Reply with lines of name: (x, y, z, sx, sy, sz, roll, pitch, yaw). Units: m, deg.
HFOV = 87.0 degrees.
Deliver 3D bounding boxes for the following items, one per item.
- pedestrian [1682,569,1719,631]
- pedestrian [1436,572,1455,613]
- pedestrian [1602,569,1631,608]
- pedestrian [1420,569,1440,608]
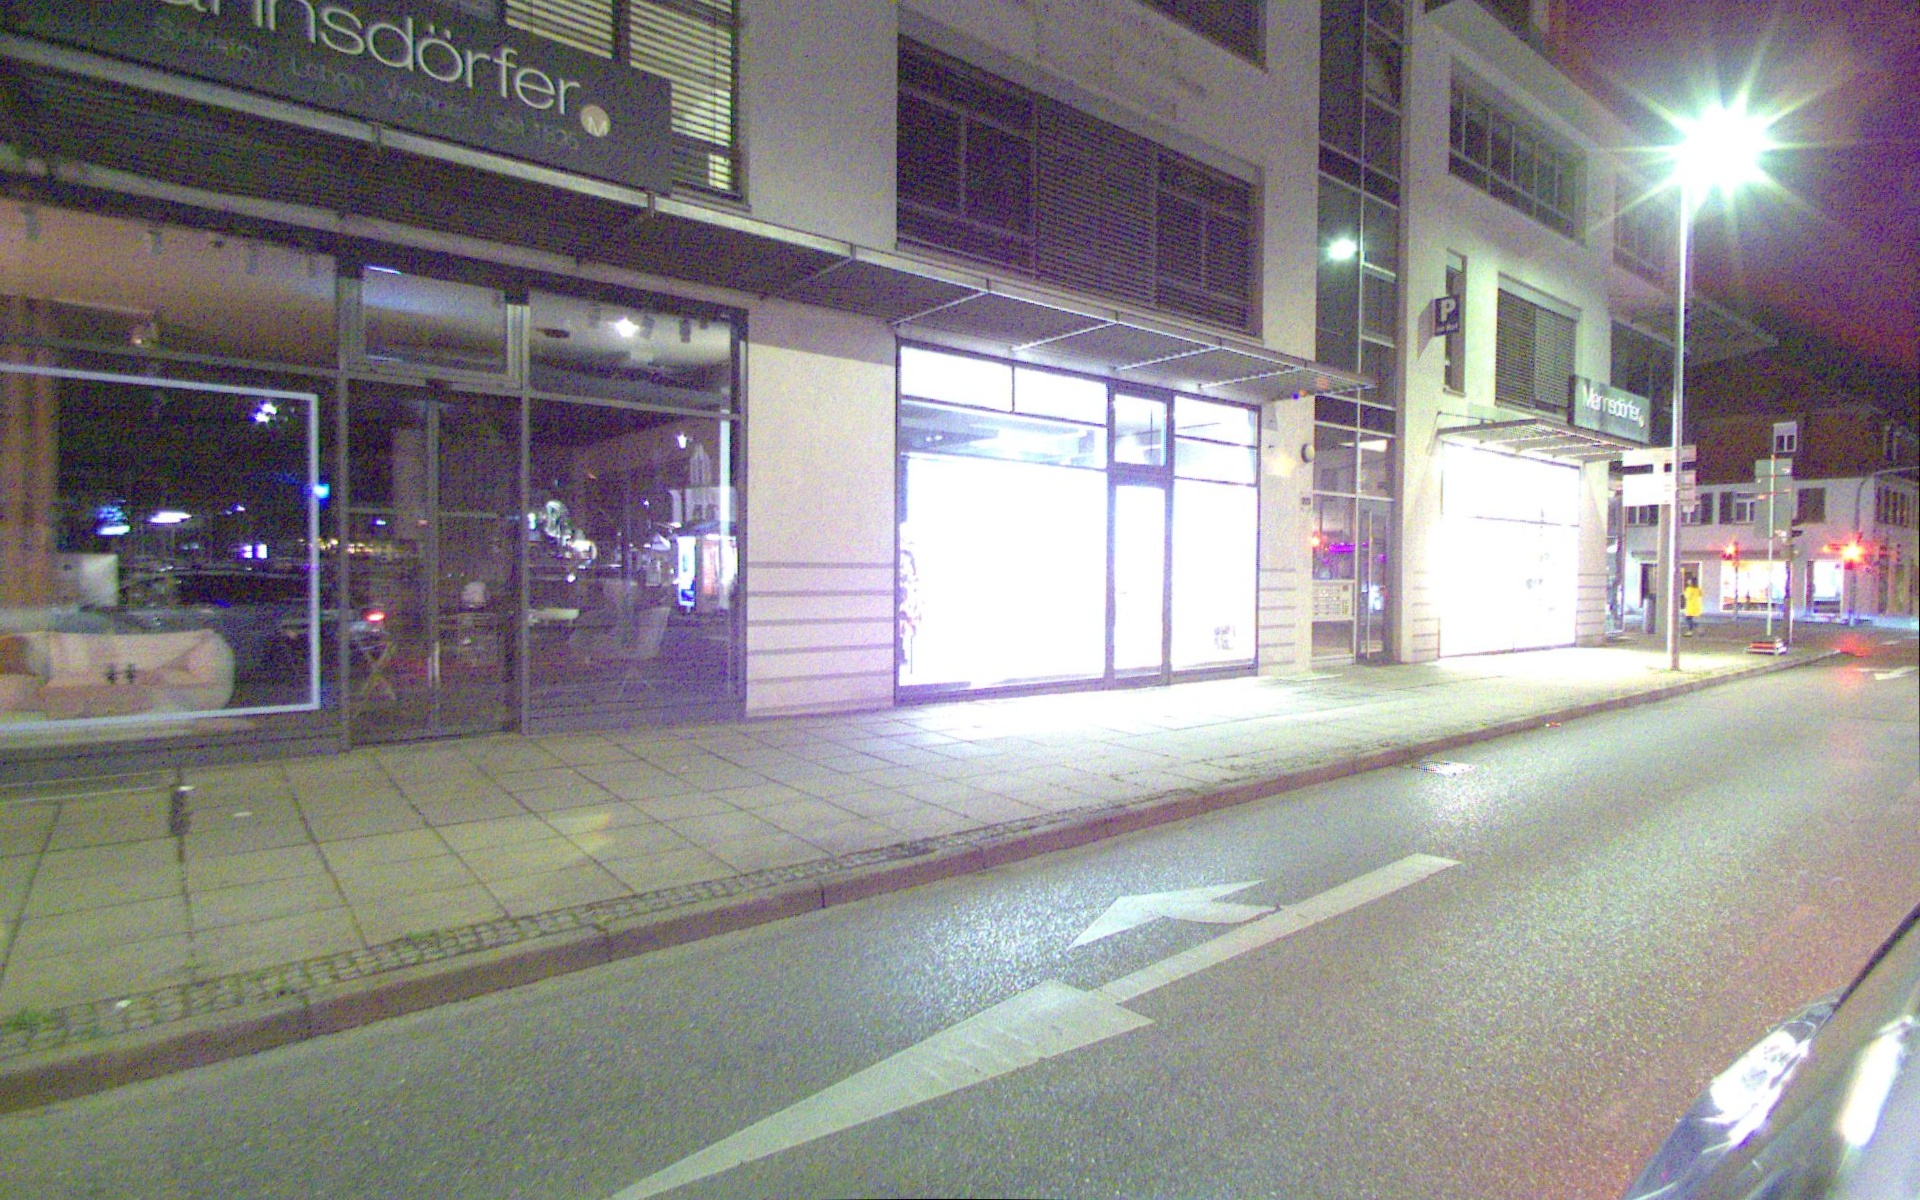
pedestrian: (20.581, -0.016, 28.130, 0.634, 1.703, 0.541, 0, 0, -19)
pedestrian: (20.979, -0.325, 43.755, 0.556, 1.738, 0.525, 0, 0, -35)
pedestrian: (30.026, -0.552, 46.291, 0.635, 1.755, 0.877, 0, 2, -37)
pedestrian: (20.834, -0.508, 44.849, 0.556, 1.738, 0.567, 0, 0, -34)
